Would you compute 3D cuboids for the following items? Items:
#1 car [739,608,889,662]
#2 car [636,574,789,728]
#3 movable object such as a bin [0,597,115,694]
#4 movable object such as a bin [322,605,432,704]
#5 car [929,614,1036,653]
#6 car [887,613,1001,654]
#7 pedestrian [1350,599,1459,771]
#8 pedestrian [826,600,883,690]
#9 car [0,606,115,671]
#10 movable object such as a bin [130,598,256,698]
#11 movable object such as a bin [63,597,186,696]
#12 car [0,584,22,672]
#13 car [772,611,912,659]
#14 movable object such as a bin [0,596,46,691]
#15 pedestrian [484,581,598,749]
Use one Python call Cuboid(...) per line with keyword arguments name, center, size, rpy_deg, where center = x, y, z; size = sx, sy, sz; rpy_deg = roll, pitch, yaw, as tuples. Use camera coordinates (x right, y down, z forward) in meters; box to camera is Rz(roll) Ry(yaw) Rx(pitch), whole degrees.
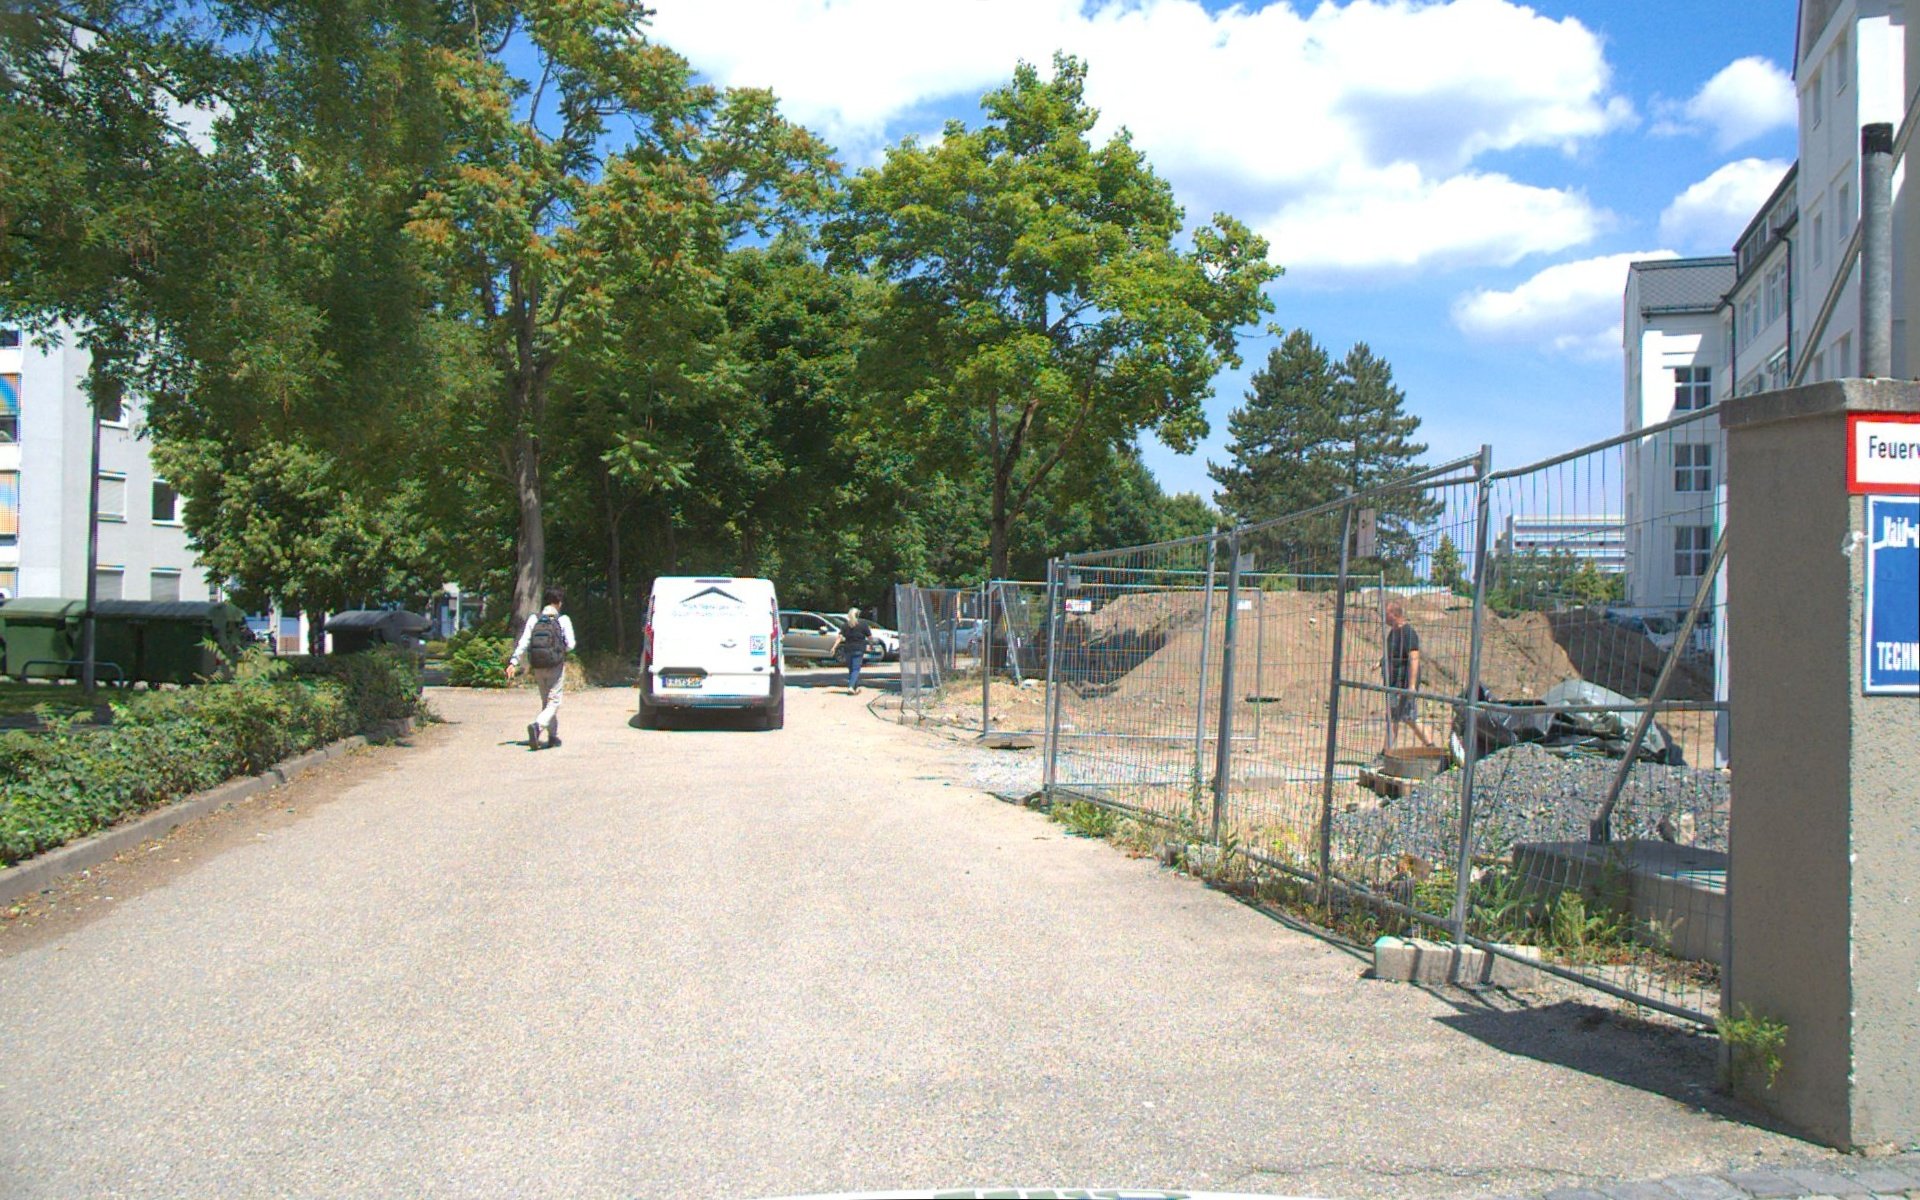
Cuboid(name="car", center=(-4.726, 1.147, 53.822), size=(4.410, 1.638, 2.001), rpy_deg=(0, -3, 17))
Cuboid(name="car", center=(-3.533, 0.684, 23.633), size=(1.936, 1.981, 4.571), rpy_deg=(1, -1, -9))
Cuboid(name="movable object such as a bin", center=(-14.416, 0.706, 26.416), size=(1.231, 1.505, 1.048), rpy_deg=(0, -1, 17))
Cuboid(name="movable object such as a bin", center=(-8.585, 0.780, 24.357), size=(1.138, 1.418, 1.110), rpy_deg=(0, -1, 39))
Cuboid(name="car", center=(1.028, 1.486, 73.775), size=(4.410, 1.626, 1.938), rpy_deg=(1, -1, 16))
Cuboid(name="car", center=(-0.654, 1.368, 68.406), size=(4.410, 1.626, 1.727), rpy_deg=(1, 0, 16))
Cuboid(name="pedestrian", center=(4.903, 0.921, 18.294), size=(0.945, 1.851, 0.870), rpy_deg=(0, -1, -2))
Cuboid(name="pedestrian", center=(-1.983, 0.835, 31.251), size=(1.014, 1.679, 1.049), rpy_deg=(0, 0, -1))
Cuboid(name="car", center=(-21.019, 0.825, 36.201), size=(1.789, 1.376, 4.629), rpy_deg=(1, -1, 16))
Cuboid(name="movable object such as a bin", center=(-11.860, 0.730, 25.605), size=(1.292, 1.505, 1.209), rpy_deg=(0, -1, 13))
Cuboid(name="movable object such as a bin", center=(-13.106, 0.718, 25.988), size=(1.327, 1.505, 1.097), rpy_deg=(0, -1, 6))
Cuboid(name="car", center=(-23.895, 0.630, 37.273), size=(1.951, 2.049, 4.777), rpy_deg=(0, -1, 16))
Cuboid(name="car", center=(-4.000, 1.176, 56.252), size=(4.410, 1.558, 1.726), rpy_deg=(1, -1, 16))
Cuboid(name="movable object such as a bin", center=(-15.810, 0.693, 26.837), size=(1.375, 1.505, 1.048), rpy_deg=(0, -1, 17))
Cuboid(name="pedestrian", center=(-4.545, 0.687, 18.007), size=(0.855, 1.760, 1.081), rpy_deg=(0, 0, 7))
